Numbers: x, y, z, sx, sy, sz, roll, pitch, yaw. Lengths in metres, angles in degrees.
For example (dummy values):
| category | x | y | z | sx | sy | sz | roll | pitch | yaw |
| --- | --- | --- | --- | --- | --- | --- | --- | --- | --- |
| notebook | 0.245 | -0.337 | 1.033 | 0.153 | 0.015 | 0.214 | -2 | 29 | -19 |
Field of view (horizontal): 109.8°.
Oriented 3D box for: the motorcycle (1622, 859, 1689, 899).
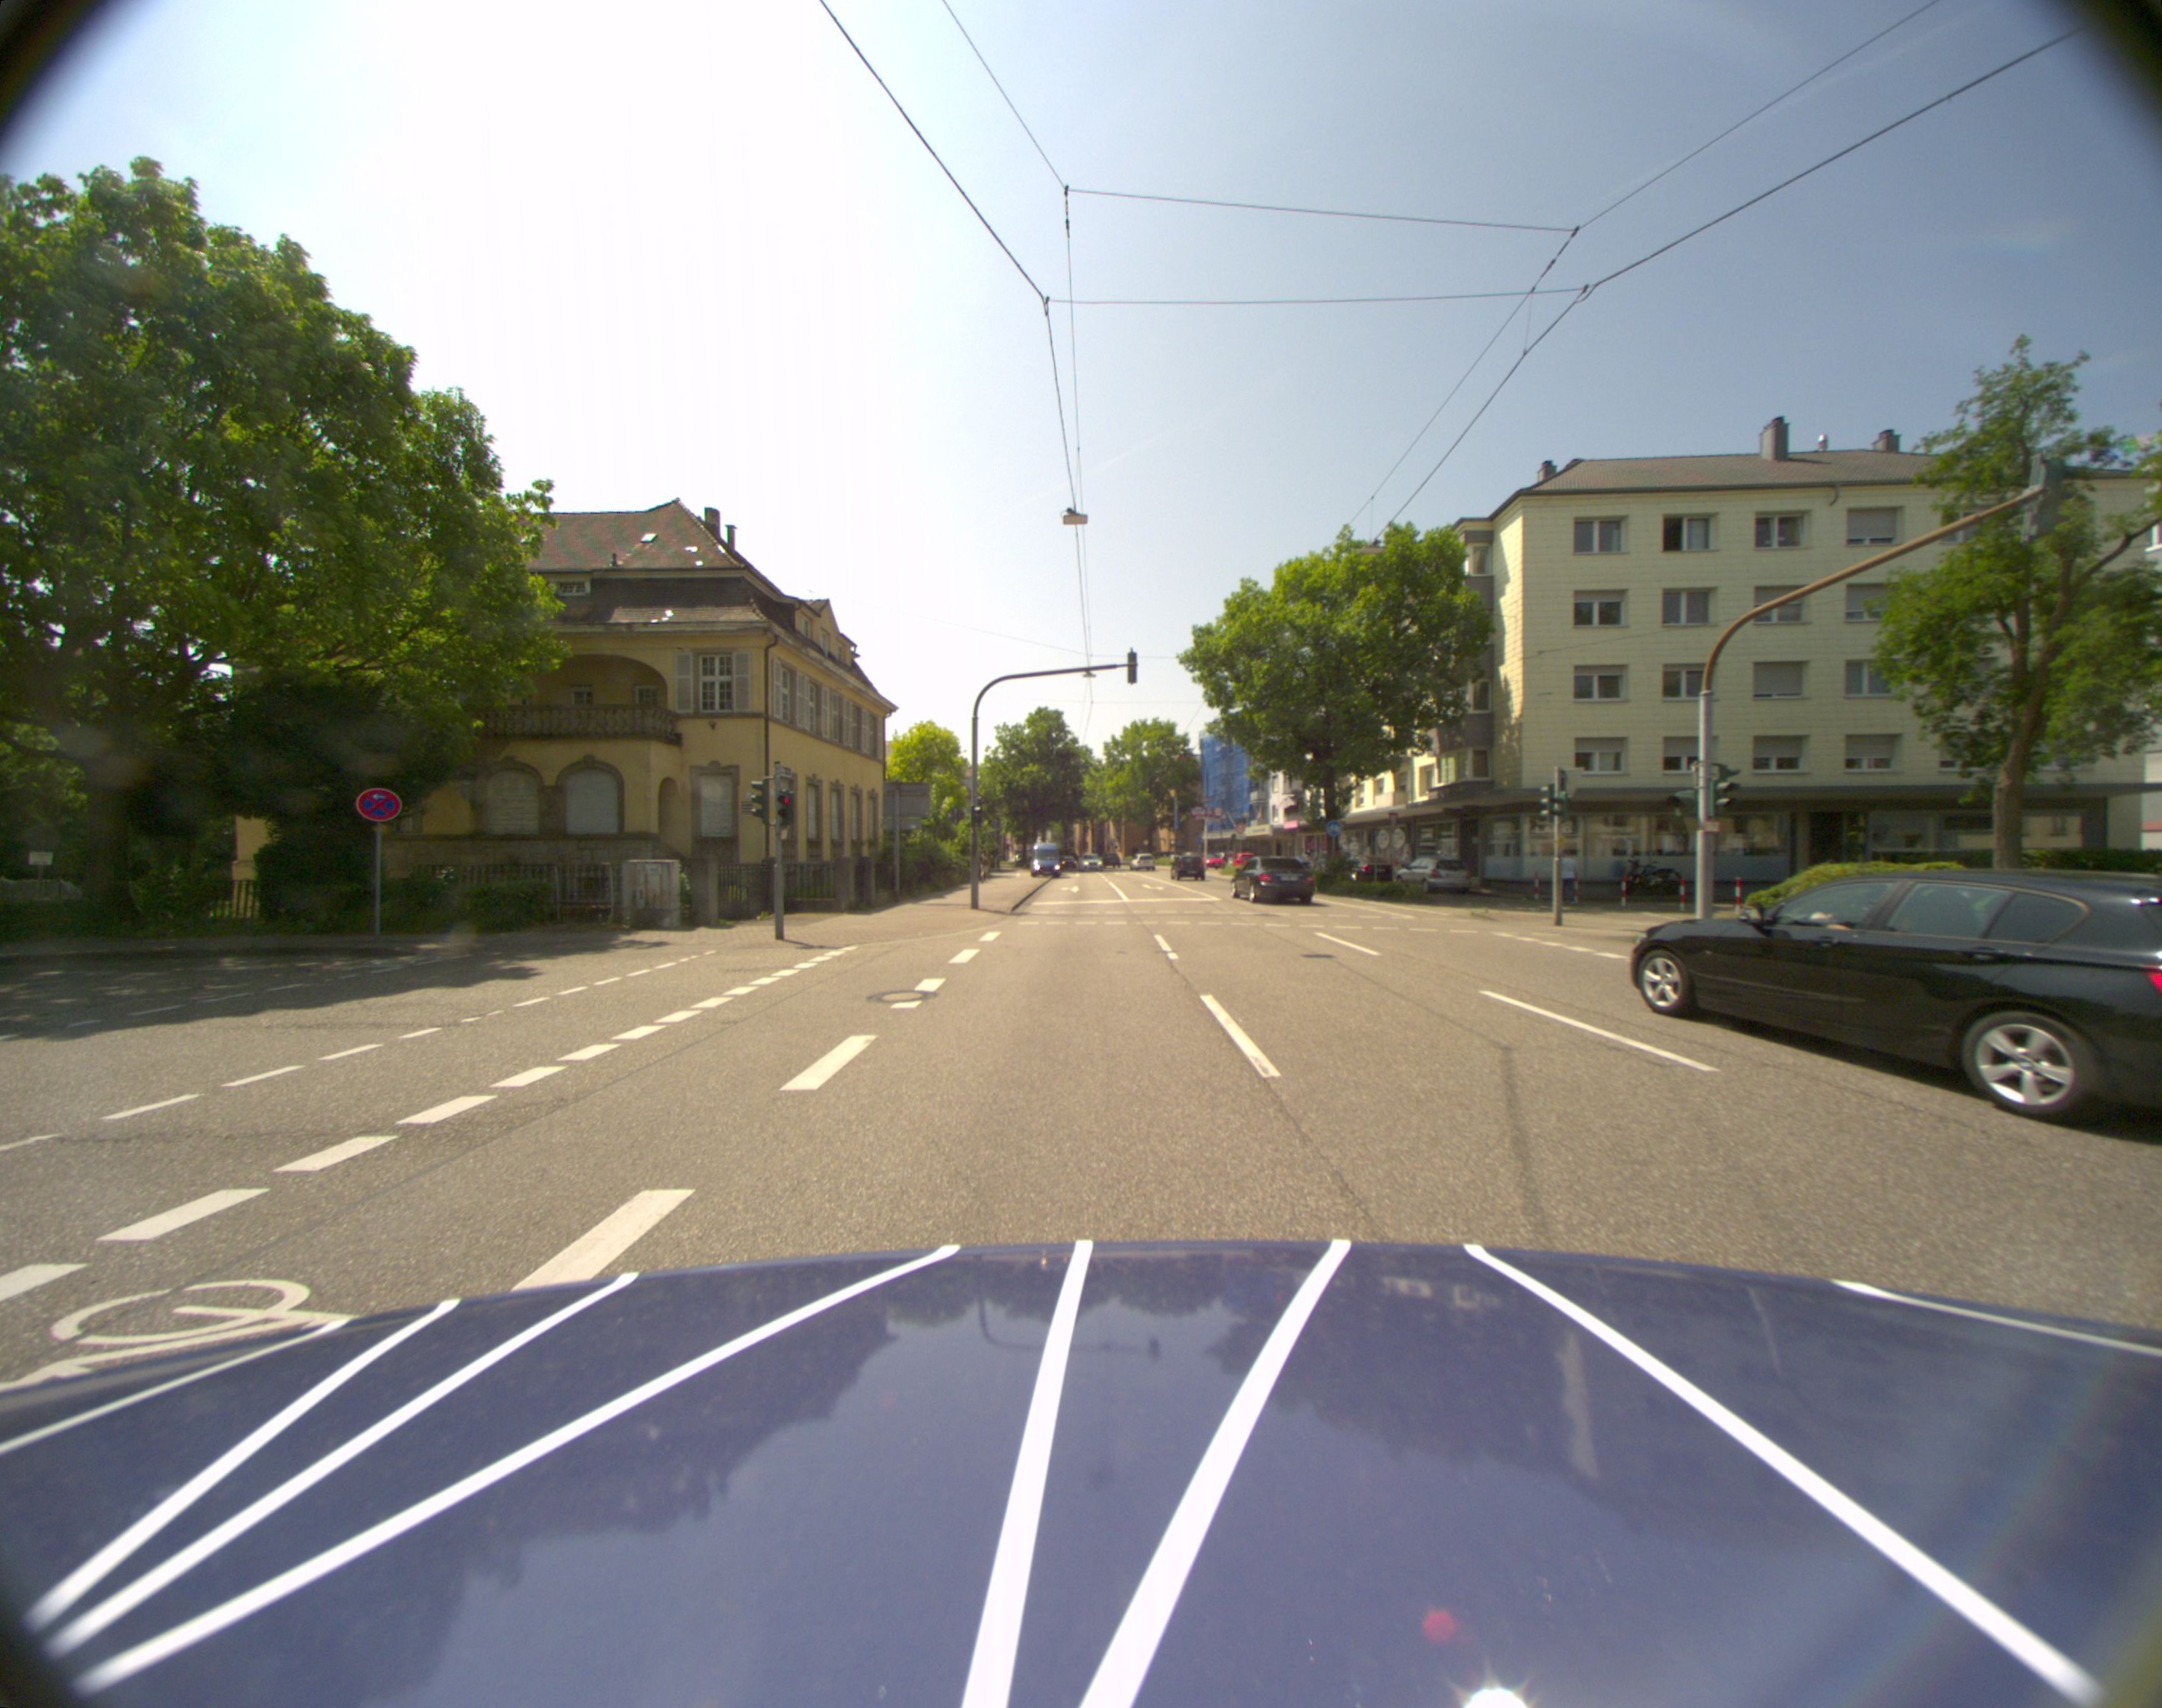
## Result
| category | x | y | z | sx | sy | sz | roll | pitch | yaw |
| --- | --- | --- | --- | --- | --- | --- | --- | --- | --- |
| motorcycle | 21.467 | 0.939 | 28.423 | 1.919 | 1.413 | 0.714 | -1 | 2 | 2 |

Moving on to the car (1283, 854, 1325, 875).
| category | x | y | z | sx | sy | sz | roll | pitch | yaw |
| --- | --- | --- | --- | --- | --- | --- | --- | --- | --- |
| car | 14.910 | 0.702 | 50.956 | 1.704 | 1.279 | 3.861 | -1 | 1 | 0 |

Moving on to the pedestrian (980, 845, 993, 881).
| category | x | y | z | sx | sy | sz | roll | pitch | yaw |
| --- | --- | --- | --- | --- | --- | --- | --- | --- | --- |
| pedestrian | -5.055 | 0.488 | 40.633 | 0.621 | 1.907 | 0.744 | 0 | 1 | 0 |

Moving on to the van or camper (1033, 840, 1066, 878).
| category | x | y | z | sx | sy | sz | roll | pitch | yaw |
| --- | --- | --- | --- | --- | --- | --- | --- | --- | --- |
| van or camper | -2.260 | 0.276 | 54.909 | 2.164 | 2.567 | 5.843 | -1 | 1 | -2 |

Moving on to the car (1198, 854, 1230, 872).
| category | x | y | z | sx | sy | sz | roll | pitch | yaw |
| --- | --- | --- | --- | --- | --- | --- | --- | --- | --- |
| car | 11.898 | 0.776 | 68.273 | 1.913 | 1.511 | 4.333 | 0 | 0 | -2 |

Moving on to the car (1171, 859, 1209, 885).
| category | x | y | z | sx | sy | sz | roll | pitch | yaw |
| --- | --- | --- | --- | --- | --- | --- | --- | --- | --- |
| car | 6.282 | 1.006 | 44.157 | 1.620 | 1.447 | 3.710 | 0 | 0 | -1 |

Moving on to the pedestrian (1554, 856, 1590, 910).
| category | x | y | z | sx | sy | sz | roll | pitch | yaw |
| --- | --- | --- | --- | --- | --- | --- | --- | --- | --- |
| pedestrian | 16.027 | 0.955 | 24.818 | 0.628 | 1.748 | 0.743 | 0 | -4 | 1 |

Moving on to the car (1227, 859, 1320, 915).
| category | x | y | z | sx | sy | sz | roll | pitch | yaw |
| --- | --- | --- | --- | --- | --- | --- | --- | --- | --- |
| car | 5.891 | 0.951 | 23.744 | 1.760 | 1.551 | 4.317 | 1 | 0 | 0 |

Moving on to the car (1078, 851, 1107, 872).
| category | x | y | z | sx | sy | sz | roll | pitch | yaw |
| --- | --- | --- | --- | --- | --- | --- | --- | --- | --- |
| car | 1.001 | 0.651 | 67.635 | 2.000 | 1.740 | 4.442 | -2 | 1 | -7 |

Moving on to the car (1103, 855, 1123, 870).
| category | x | y | z | sx | sy | sz | roll | pitch | yaw |
| --- | --- | --- | --- | --- | --- | --- | --- | --- | --- |
| car | 3.566 | 0.926 | 84.915 | 1.985 | 1.629 | 4.225 | 0 | 0 | -2 |

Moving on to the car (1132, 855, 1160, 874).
| category | x | y | z | sx | sy | sz | roll | pitch | yaw |
| --- | --- | --- | --- | --- | --- | --- | --- | --- | --- |
| car | 5.648 | 0.916 | 66.898 | 1.820 | 1.509 | 4.629 | -2 | 0 | -3 |

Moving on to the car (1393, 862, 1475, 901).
| category | x | y | z | sx | sy | sz | roll | pitch | yaw |
| --- | --- | --- | --- | --- | --- | --- | --- | --- | --- |
| car | 14.579 | 1.101 | 31.614 | 1.586 | 1.450 | 3.939 | 0 | 1 | 1 |

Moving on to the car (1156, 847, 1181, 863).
| category | x | y | z | sx | sy | sz | roll | pitch | yaw |
| --- | --- | --- | --- | --- | --- | --- | --- | --- | --- |
| car | 10.050 | 0.058 | 87.850 | 1.914 | 1.795 | 4.331 | 0 | 0 | -7 |

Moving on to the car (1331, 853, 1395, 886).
| category | x | y | z | sx | sy | sz | roll | pitch | yaw |
| --- | --- | --- | --- | --- | --- | --- | --- | --- | --- |
| car | 14.593 | 0.749 | 39.564 | 1.626 | 1.560 | 4.839 | 0 | 1 | 1 |

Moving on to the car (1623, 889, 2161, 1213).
| category | x | y | z | sx | sy | sz | roll | pitch | yaw |
| --- | --- | --- | --- | --- | --- | --- | --- | --- | --- |
| car | 6.121 | 1.046 | 5.268 | 1.841 | 1.391 | 4.050 | 1 | 0 | 1 |

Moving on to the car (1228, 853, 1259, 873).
| category | x | y | z | sx | sy | sz | roll | pitch | yaw |
| --- | --- | --- | --- | --- | --- | --- | --- | --- | --- |
| car | 12.319 | 0.655 | 57.645 | 1.639 | 1.459 | 3.634 | 0 | 1 | 1 |

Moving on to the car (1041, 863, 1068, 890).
| category | x | y | z | sx | sy | sz | roll | pitch | yaw |
| --- | --- | --- | --- | --- | --- | --- | --- | --- | --- |
| car | -2.126 | 1.789 | 62.617 | 1.998 | 2.002 | 4.594 | -2 | 1 | 0 |

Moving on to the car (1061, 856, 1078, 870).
| category | x | y | z | sx | sy | sz | roll | pitch | yaw |
| --- | --- | --- | --- | --- | --- | --- | --- | --- | --- |
| car | -1.334 | 1.020 | 86.349 | 1.735 | 1.397 | 4.332 | -2 | 1 | -3 |

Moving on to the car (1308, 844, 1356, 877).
| category | x | y | z | sx | sy | sz | roll | pitch | yaw |
| --- | --- | --- | --- | --- | --- | --- | --- | --- | --- |
| car | 14.946 | 0.374 | 45.441 | 1.643 | 1.828 | 3.860 | -1 | 0 | 0 |
